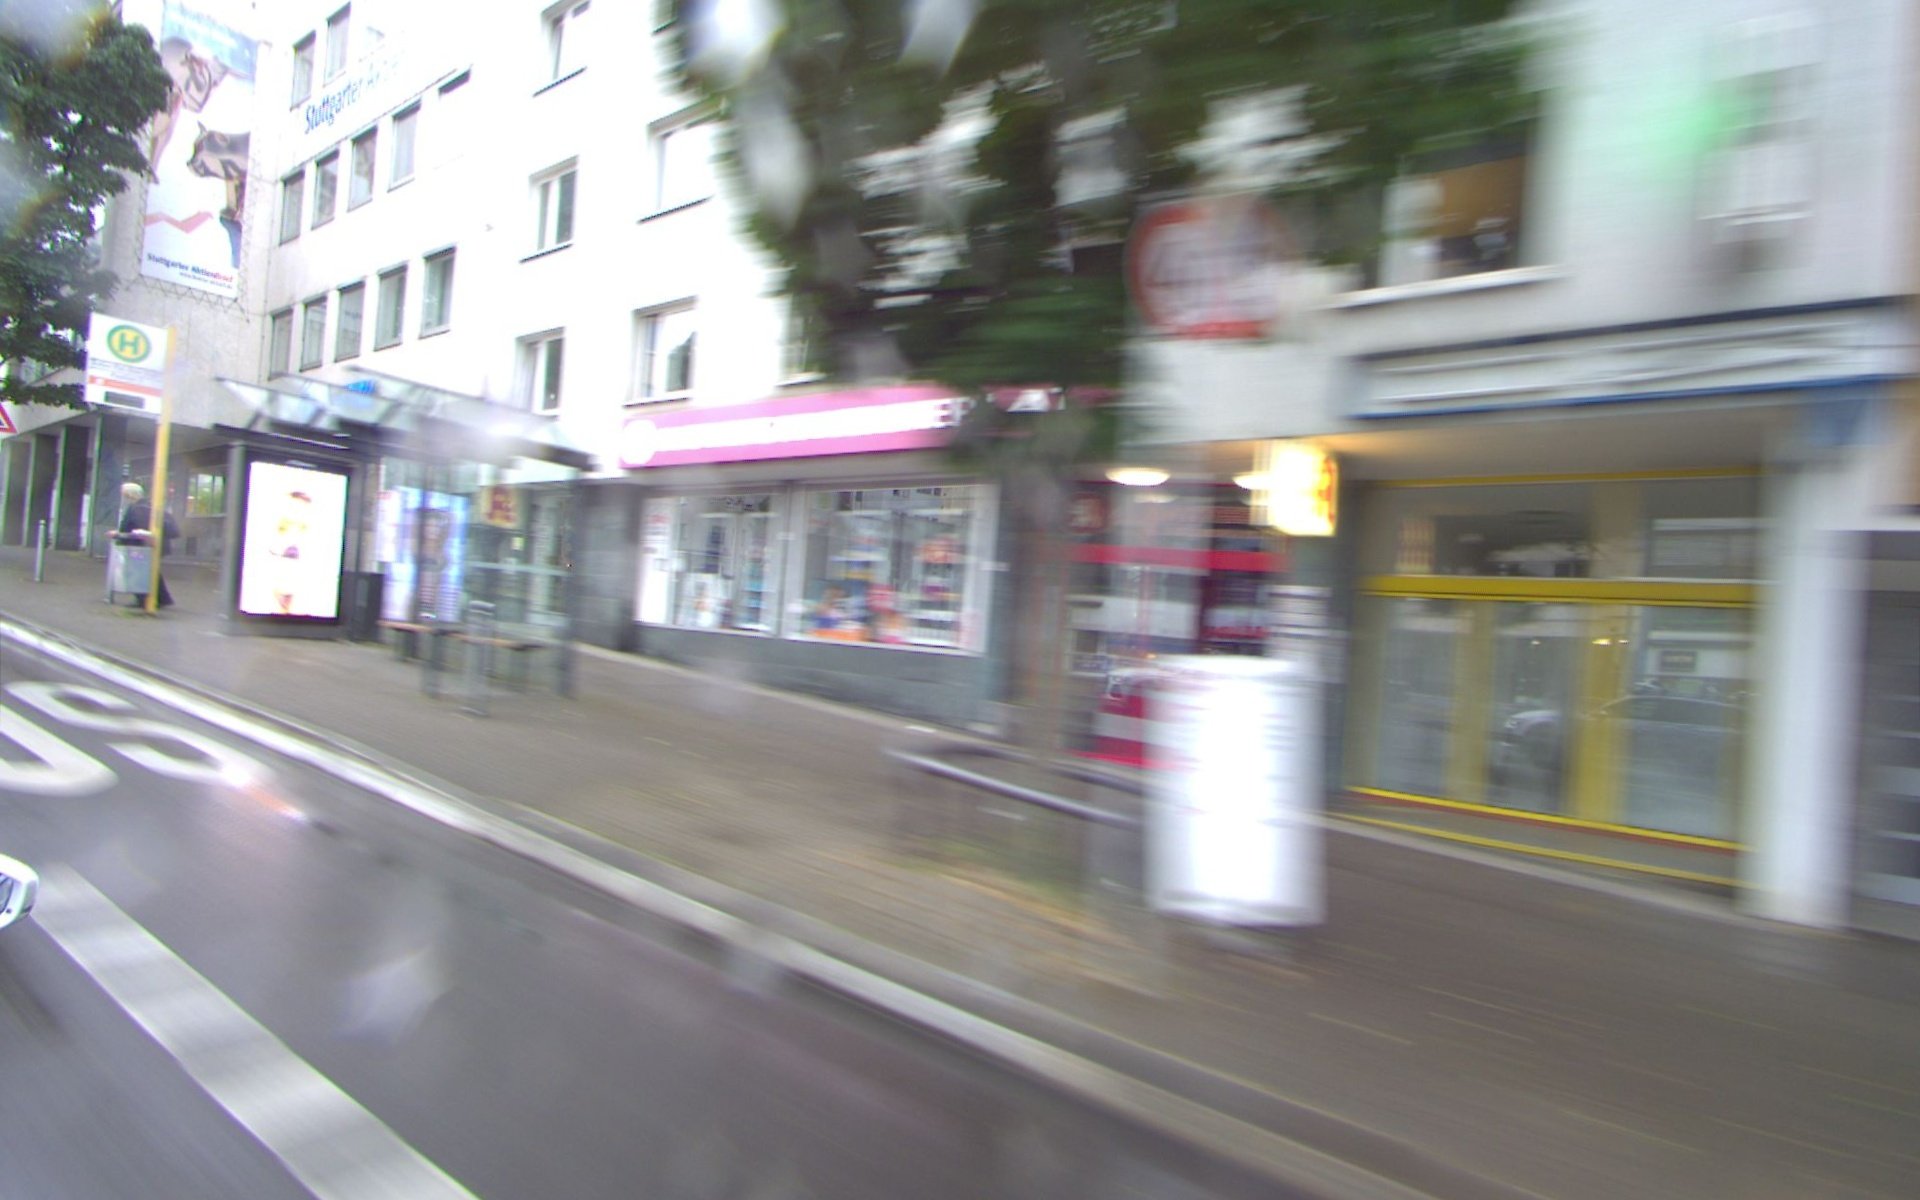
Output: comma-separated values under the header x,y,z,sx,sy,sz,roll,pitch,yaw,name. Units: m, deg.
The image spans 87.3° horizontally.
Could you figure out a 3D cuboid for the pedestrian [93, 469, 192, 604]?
x,y,z,sx,sy,sz,roll,pitch,yaw,name
-10.774,-0.832,13.257,0.952,1.647,0.665,7,1,34,pedestrian
